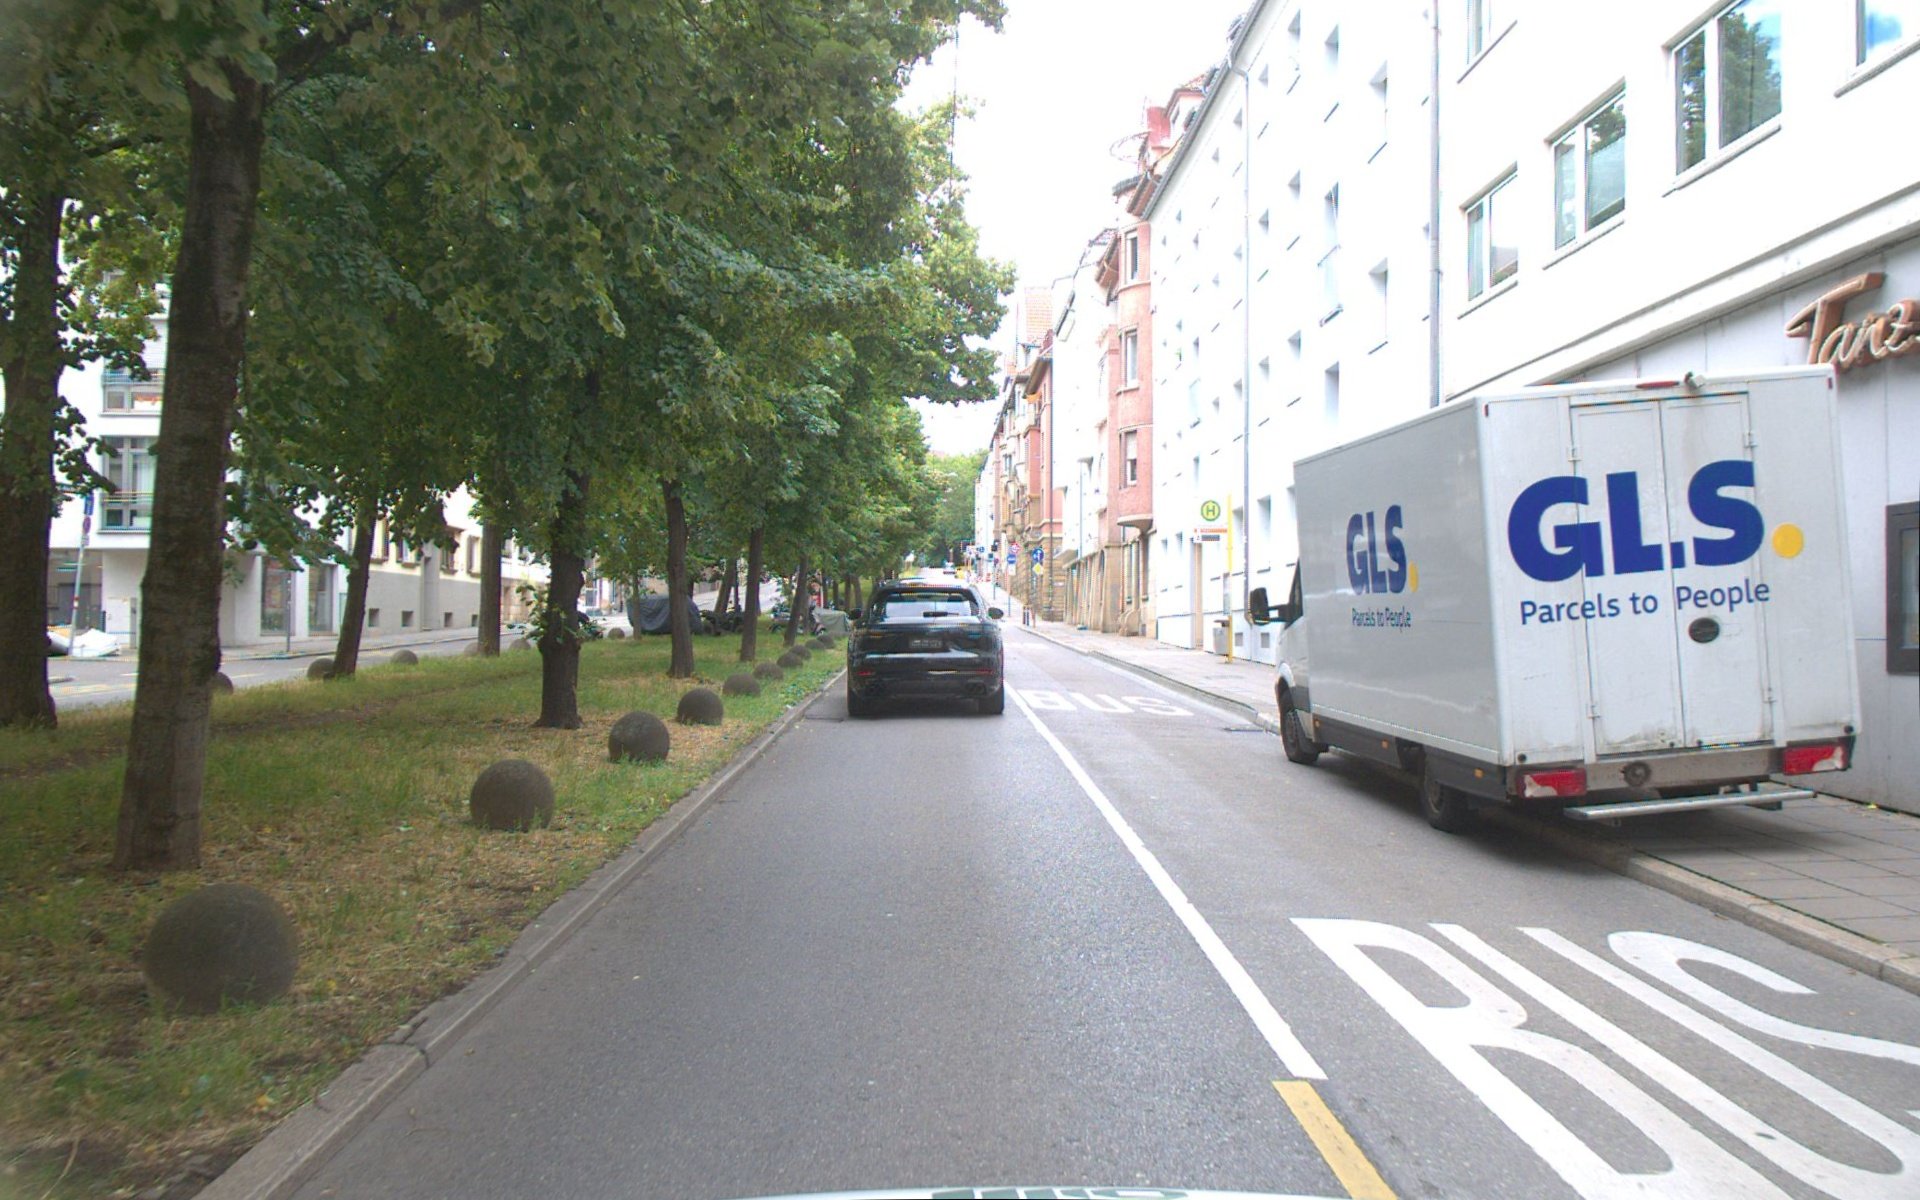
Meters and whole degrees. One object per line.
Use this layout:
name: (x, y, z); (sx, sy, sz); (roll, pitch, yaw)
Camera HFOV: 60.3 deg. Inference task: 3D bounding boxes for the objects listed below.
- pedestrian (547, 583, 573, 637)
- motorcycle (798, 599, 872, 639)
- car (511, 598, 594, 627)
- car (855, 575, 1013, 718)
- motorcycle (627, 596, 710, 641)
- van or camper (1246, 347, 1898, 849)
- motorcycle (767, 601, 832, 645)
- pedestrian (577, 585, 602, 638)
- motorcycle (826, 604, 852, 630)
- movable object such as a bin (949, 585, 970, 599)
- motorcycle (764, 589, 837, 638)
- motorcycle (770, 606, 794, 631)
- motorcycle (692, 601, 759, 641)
pedestrian: (-12.338, 0.315, 51.030); (0.621, 1.641, 0.764); (1, 0, -3)
motorcycle: (-3.984, 0.602, 52.898); (2.308, 1.257, 1.033); (0, 2, -3)
car: (-21.581, 0.654, 87.746); (3.906, 1.523, 2.000); (0, 0, -1)
car: (-0.393, 0.554, 21.645); (1.865, 1.695, 4.133); (0, 0, -3)
motorcycle: (-8.817, 0.545, 50.067); (2.334, 1.340, 1.045); (0, 0, -2)
van or camper: (4.109, -0.004, 13.028); (2.429, 2.852, 7.237); (0, 0, 0)
motorcycle: (-4.863, 0.698, 50.202); (1.886, 1.319, 0.893); (0, -2, -3)
pedestrian: (-11.622, 0.368, 51.863); (0.649, 1.644, 0.579); (0, 0, 1)
motorcycle: (-5.672, 0.794, 77.411); (1.041, 1.168, 2.448); (-1, 0, 0)
movable object such as a bin: (-0.043, -0.757, 159.414); (1.226, 1.296, 1.824); (0, 0, -34)
motorcycle: (-4.899, 0.405, 50.962); (2.148, 1.464, 0.874); (0, 0, 1)
motorcycle: (-8.285, 0.872, 77.230); (0.882, 1.126, 2.250); (-1, -2, 0)
motorcycle: (-7.545, 0.664, 53.242); (1.986, 1.257, 0.897); (0, 0, 4)
